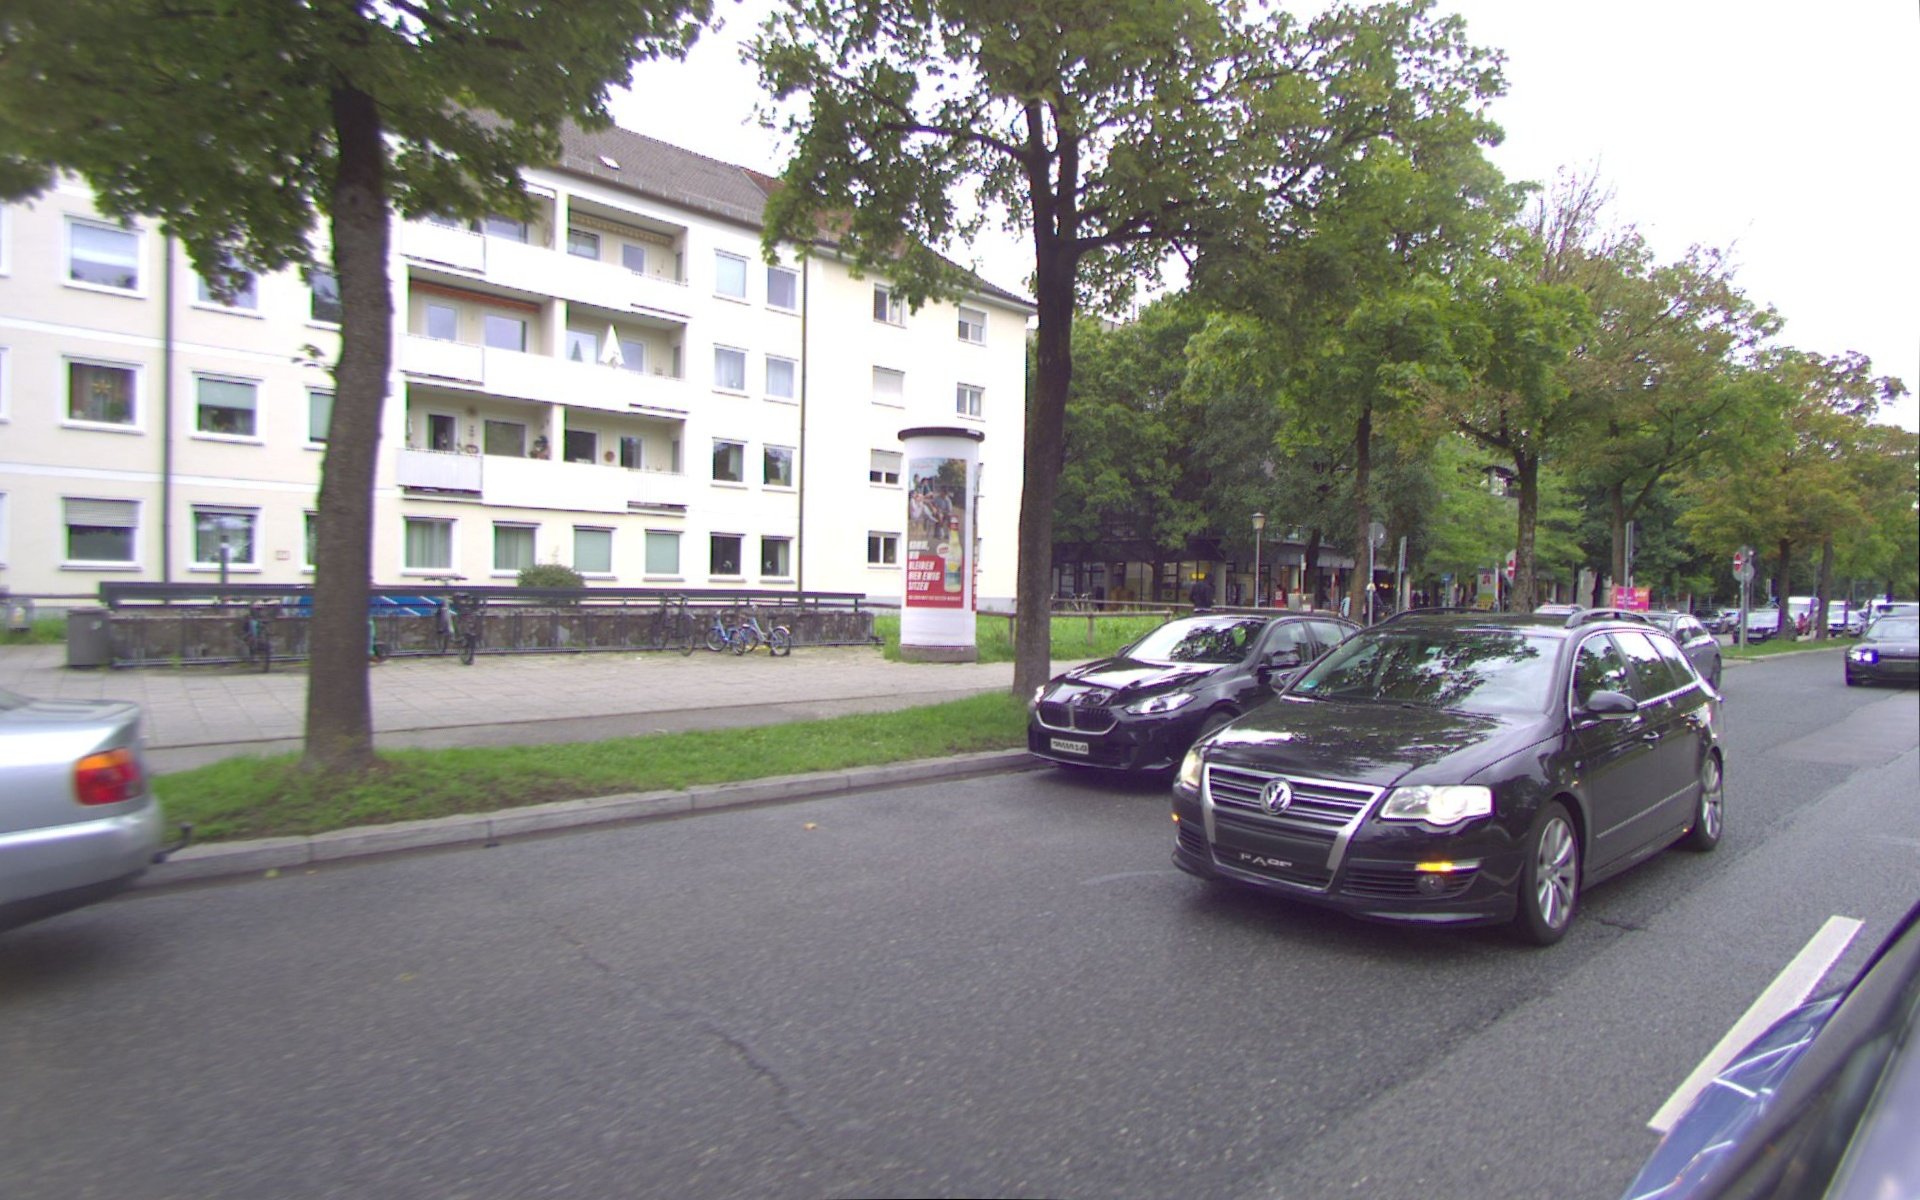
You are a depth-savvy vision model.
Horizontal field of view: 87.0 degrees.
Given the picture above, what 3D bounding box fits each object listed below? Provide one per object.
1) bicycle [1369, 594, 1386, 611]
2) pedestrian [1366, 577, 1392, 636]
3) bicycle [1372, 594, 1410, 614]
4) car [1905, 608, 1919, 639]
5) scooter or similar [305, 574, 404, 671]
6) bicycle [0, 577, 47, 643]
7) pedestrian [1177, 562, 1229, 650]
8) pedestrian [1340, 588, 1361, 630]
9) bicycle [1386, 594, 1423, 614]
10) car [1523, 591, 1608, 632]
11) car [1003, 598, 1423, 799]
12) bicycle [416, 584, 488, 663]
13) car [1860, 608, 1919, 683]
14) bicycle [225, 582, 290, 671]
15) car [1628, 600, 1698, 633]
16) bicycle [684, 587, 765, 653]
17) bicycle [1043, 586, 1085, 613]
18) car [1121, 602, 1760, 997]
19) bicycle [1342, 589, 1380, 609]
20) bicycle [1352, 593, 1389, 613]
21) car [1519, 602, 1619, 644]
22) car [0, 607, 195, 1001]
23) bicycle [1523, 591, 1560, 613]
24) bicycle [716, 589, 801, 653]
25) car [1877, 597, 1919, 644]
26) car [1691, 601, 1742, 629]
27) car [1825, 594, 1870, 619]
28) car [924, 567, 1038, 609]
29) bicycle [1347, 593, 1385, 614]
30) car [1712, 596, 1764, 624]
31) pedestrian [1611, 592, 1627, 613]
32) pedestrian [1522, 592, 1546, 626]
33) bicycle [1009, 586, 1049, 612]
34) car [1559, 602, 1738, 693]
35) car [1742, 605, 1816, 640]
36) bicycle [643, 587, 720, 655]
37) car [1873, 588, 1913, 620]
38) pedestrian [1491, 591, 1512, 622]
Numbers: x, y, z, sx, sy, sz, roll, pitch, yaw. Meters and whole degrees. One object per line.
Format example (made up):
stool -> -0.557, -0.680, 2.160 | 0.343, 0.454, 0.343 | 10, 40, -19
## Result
bicycle -> 27.987, 0.192, 67.857 | 1.529, 1.134, 0.454 | 1, 1, -45
pedestrian -> 12.641, 0.180, 30.553 | 0.632, 1.752, 0.598 | 0, 0, 14
bicycle -> 25.614, 0.257, 60.215 | 0.447, 1.134, 2.079 | 1, 1, -40
car -> 46.061, 1.106, 47.903 | 3.973, 1.467, 1.698 | 1, -1, -43
scooter or similar -> -8.030, 0.261, 13.473 | 0.352, 1.215, 1.388 | 2, 1, 7
bicycle -> -15.677, 0.147, 15.971 | 1.850, 1.041, 0.432 | 1, 1, -40
pedestrian -> 5.049, 0.116, 21.001 | 0.640, 1.771, 0.835 | 4, 2, 45
pedestrian -> 14.909, 0.331, 38.665 | 0.571, 1.594, 0.779 | 0, 0, 9
bicycle -> 27.211, 0.239, 61.990 | 0.447, 1.134, 2.079 | 1, 1, -40
car -> 26.298, 0.475, 43.908 | 4.121, 1.654, 1.827 | 1, 1, -39
car -> 2.506, 0.743, 9.493 | 4.101, 1.484, 1.754 | 1, -1, -40
bicycle -> -7.466, 0.316, 14.845 | 0.425, 1.041, 1.880 | 0, 2, -43
car -> 19.939, 0.886, 20.747 | 4.385, 1.431, 1.761 | 1, -1, -42
bicycle -> -9.172, 0.315, 13.191 | 0.425, 1.041, 1.880 | 0, 2, -43
car -> 36.622, 0.832, 52.685 | 4.519, 1.550, 1.826 | 1, 1, -39
bicycle -> -4.169, 0.329, 17.819 | 1.878, 1.041, 0.426 | 3, 2, 44
bicycle -> 3.981, -0.040, 38.819 | 0.448, 0.983, 1.693 | 1, 1, -44
car -> 3.009, 0.750, 5.829 | 4.364, 1.451, 1.734 | 1, -1, -41
bicycle -> 23.200, -0.058, 58.607 | 0.447, 1.134, 2.079 | 1, 1, -40
bicycle -> 24.367, 0.198, 60.082 | 0.447, 1.134, 2.079 | 1, 1, -40
car -> 21.781, 0.785, 36.134 | 4.273, 1.397, 1.725 | 0, 0, -39
car -> -5.098, 0.720, 3.154 | 4.173, 1.403, 1.637 | 1, -1, -44
bicycle -> 43.405, 0.129, 75.572 | 0.638, 1.551, 2.312 | 1, 1, -40
bicycle -> -3.603, 0.352, 18.005 | 1.877, 1.041, 0.426 | 3, 2, 42
car -> 41.301, 0.856, 43.767 | 4.846, 1.952, 1.884 | 1, -1, -41
car -> 45.740, 0.940, 61.138 | 4.526, 1.550, 1.823 | 2, 1, -45
car -> 79.870, 0.596, 91.018 | 5.755, 2.130, 2.267 | 1, 1, -41
car -> 1.116, -0.692, 55.782 | 6.074, 2.078, 2.315 | 3, 1, 36
bicycle -> 23.781, 0.206, 59.265 | 0.447, 1.134, 2.079 | 1, 1, -40
car -> 49.892, 0.645, 64.846 | 4.423, 1.654, 1.825 | 0, 2, -42
pedestrian -> 54.836, 0.171, 84.219 | 0.755, 1.719, 0.876 | 0, 2, -26
pedestrian -> 27.799, 0.417, 48.995 | 0.738, 1.614, 0.660 | 1, 1, -22
bicycle -> 2.732, -0.059, 40.094 | 0.448, 0.983, 1.693 | 1, 1, -44
car -> 12.713, 0.797, 18.610 | 4.041, 1.484, 1.685 | 1, -1, -40
car -> 35.818, 0.959, 44.221 | 4.609, 1.450, 1.730 | 0, 0, -41
bicycle -> -4.753, 0.329, 17.195 | 0.425, 1.041, 1.880 | 0, 2, -43
car -> 82.371, 0.366, 89.311 | 5.901, 2.691, 1.976 | 1, -1, -41
pedestrian -> 28.641, 0.344, 53.541 | 0.619, 1.561, 0.662 | 2, 2, -11
